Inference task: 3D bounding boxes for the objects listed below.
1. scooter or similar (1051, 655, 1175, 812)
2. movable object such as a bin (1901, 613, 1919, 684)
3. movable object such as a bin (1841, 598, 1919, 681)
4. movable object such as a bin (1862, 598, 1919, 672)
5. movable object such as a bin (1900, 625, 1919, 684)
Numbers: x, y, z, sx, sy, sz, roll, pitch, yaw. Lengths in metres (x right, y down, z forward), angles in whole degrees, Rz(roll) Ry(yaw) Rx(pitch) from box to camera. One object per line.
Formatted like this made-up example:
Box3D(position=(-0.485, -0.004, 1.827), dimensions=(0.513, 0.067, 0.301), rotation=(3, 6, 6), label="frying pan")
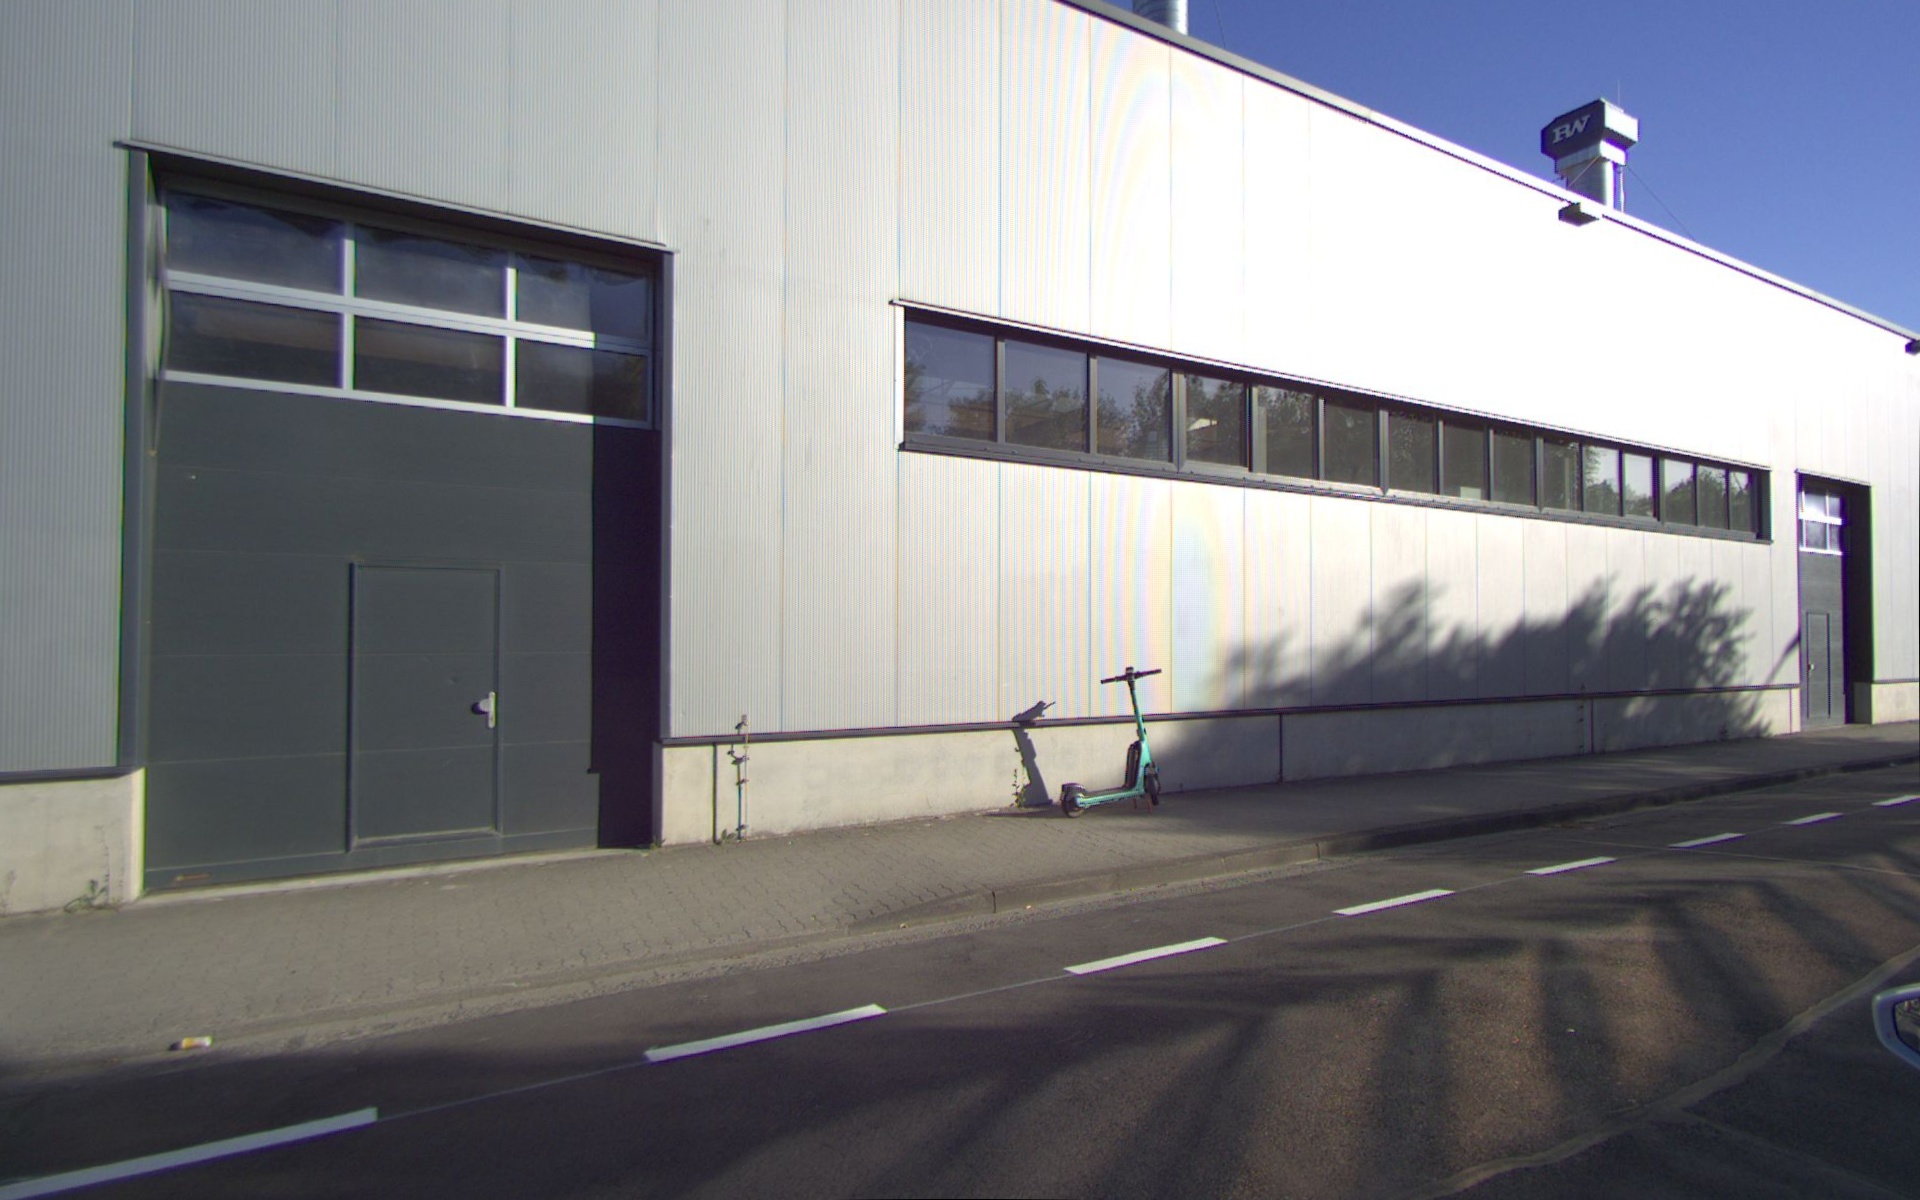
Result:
Box3D(position=(1.345, 1.131, 8.801), dimensions=(1.047, 1.284, 0.414), rotation=(1, -1, -31), label="scooter or similar")
Box3D(position=(30.118, 1.465, 29.888), dimensions=(1.470, 2.177, 2.889), rotation=(0, -1, -3), label="movable object such as a bin")
Box3D(position=(26.187, 1.069, 27.606), dimensions=(1.493, 2.193, 2.773), rotation=(0, -1, 0), label="movable object such as a bin")
Box3D(position=(28.534, 1.016, 29.573), dimensions=(1.358, 2.154, 2.799), rotation=(0, -1, -4), label="movable object such as a bin")
Box3D(position=(31.500, 1.705, 31.248), dimensions=(1.508, 1.859, 3.023), rotation=(1, -1, -31), label="movable object such as a bin")
